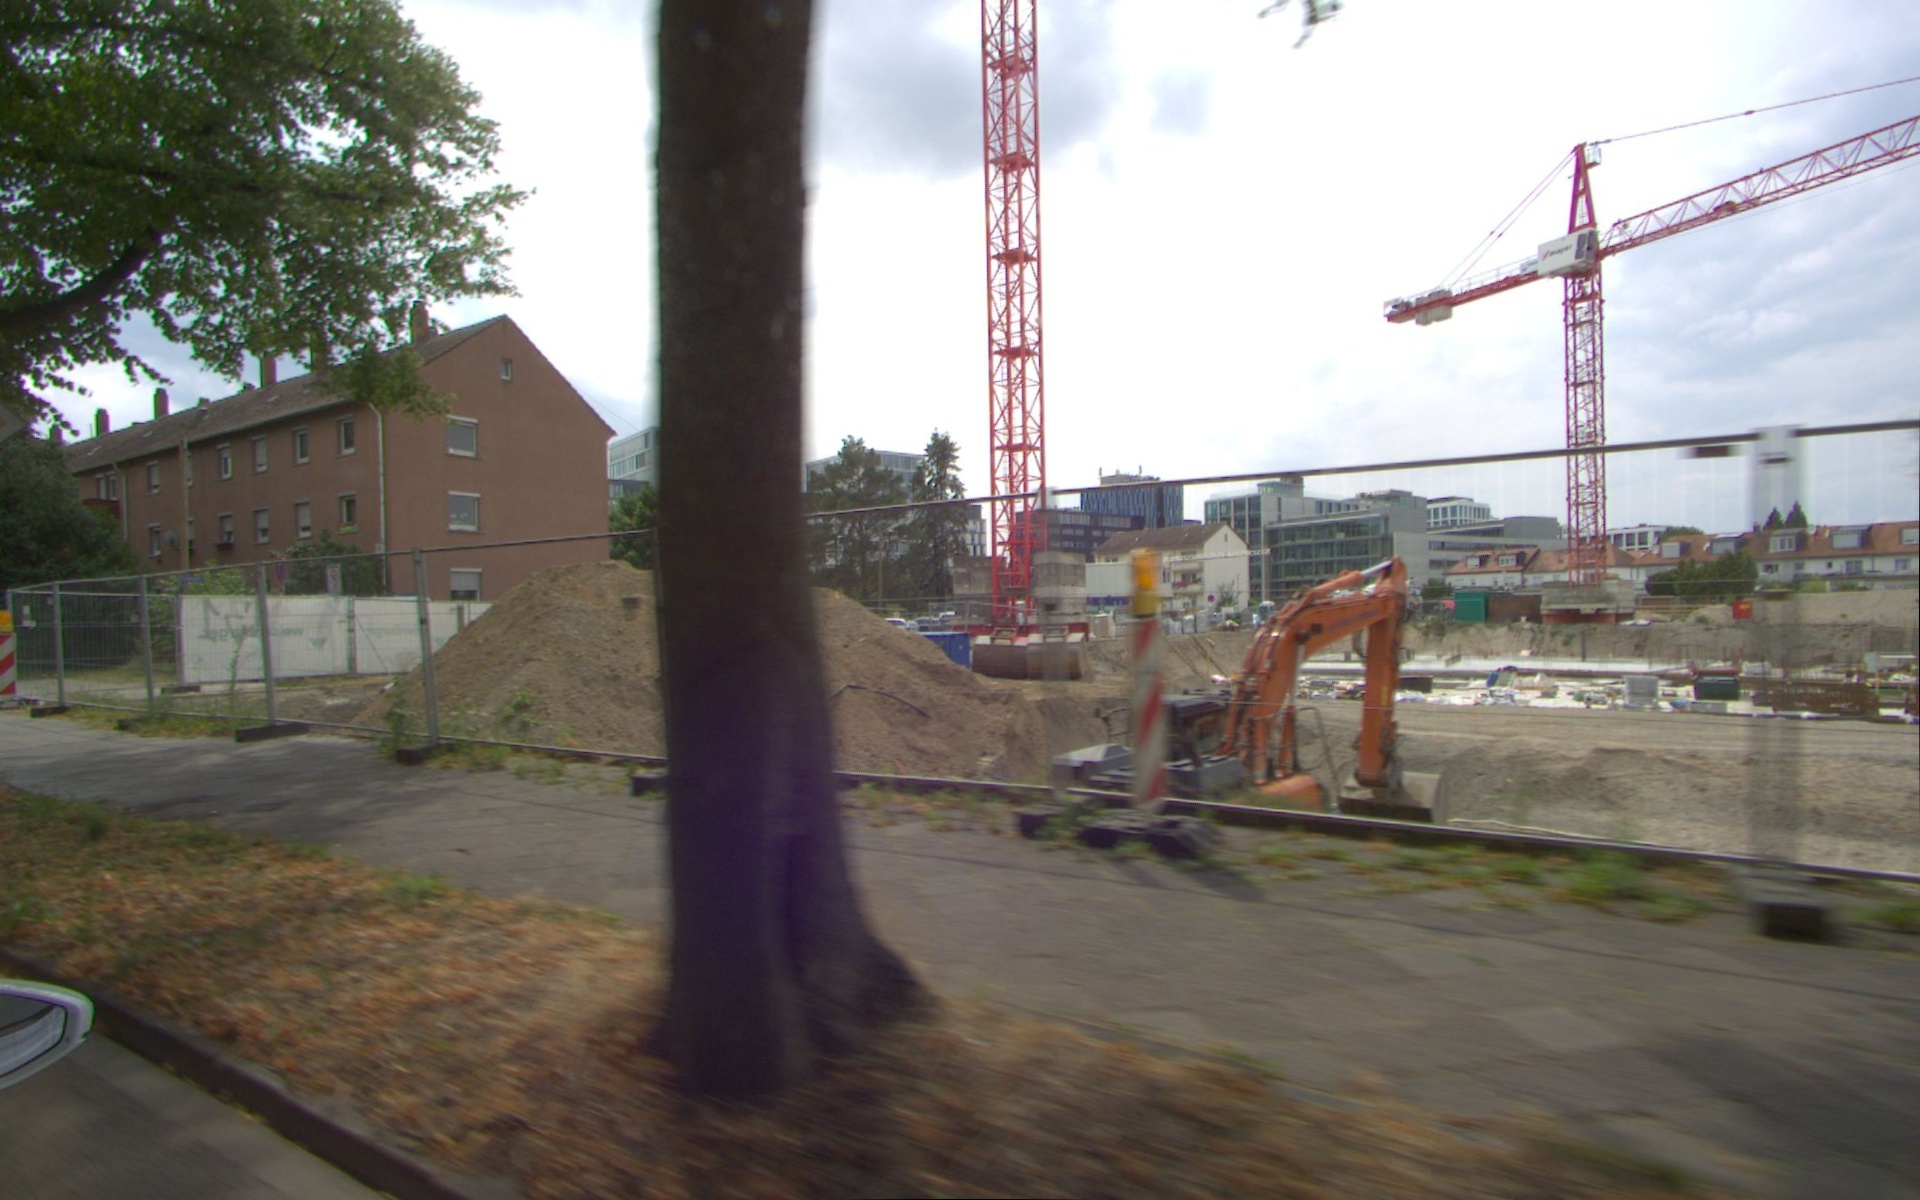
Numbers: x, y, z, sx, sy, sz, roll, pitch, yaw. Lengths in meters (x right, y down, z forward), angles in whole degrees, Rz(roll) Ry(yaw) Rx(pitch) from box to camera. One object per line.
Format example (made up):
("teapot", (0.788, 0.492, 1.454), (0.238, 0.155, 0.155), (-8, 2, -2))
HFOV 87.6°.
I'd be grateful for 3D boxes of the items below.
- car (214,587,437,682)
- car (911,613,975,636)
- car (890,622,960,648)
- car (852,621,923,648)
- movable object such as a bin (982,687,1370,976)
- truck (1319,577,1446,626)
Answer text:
("car", (-19.664, 0.968, 31.331), (2.303, 2.668, 5.458), (1, 1, 34))
("car", (-1.172, 1.651, 68.513), (4.143, 1.435, 1.715), (1, 1, 29))
("car", (-2.200, 2.149, 62.909), (4.143, 1.435, 1.715), (1, 1, 29))
("car", (-4.454, 2.095, 61.370), (4.143, 1.435, 1.715), (1, 1, 29))
("movable object such as a bin", (3.055, 2.778, 13.723), (4.649, 2.624, 3.103), (-3, 1, -44))
("truck", (38.425, 0.180, 91.393), (10.160, 4.188, 3.320), (-1, 1, 44))
